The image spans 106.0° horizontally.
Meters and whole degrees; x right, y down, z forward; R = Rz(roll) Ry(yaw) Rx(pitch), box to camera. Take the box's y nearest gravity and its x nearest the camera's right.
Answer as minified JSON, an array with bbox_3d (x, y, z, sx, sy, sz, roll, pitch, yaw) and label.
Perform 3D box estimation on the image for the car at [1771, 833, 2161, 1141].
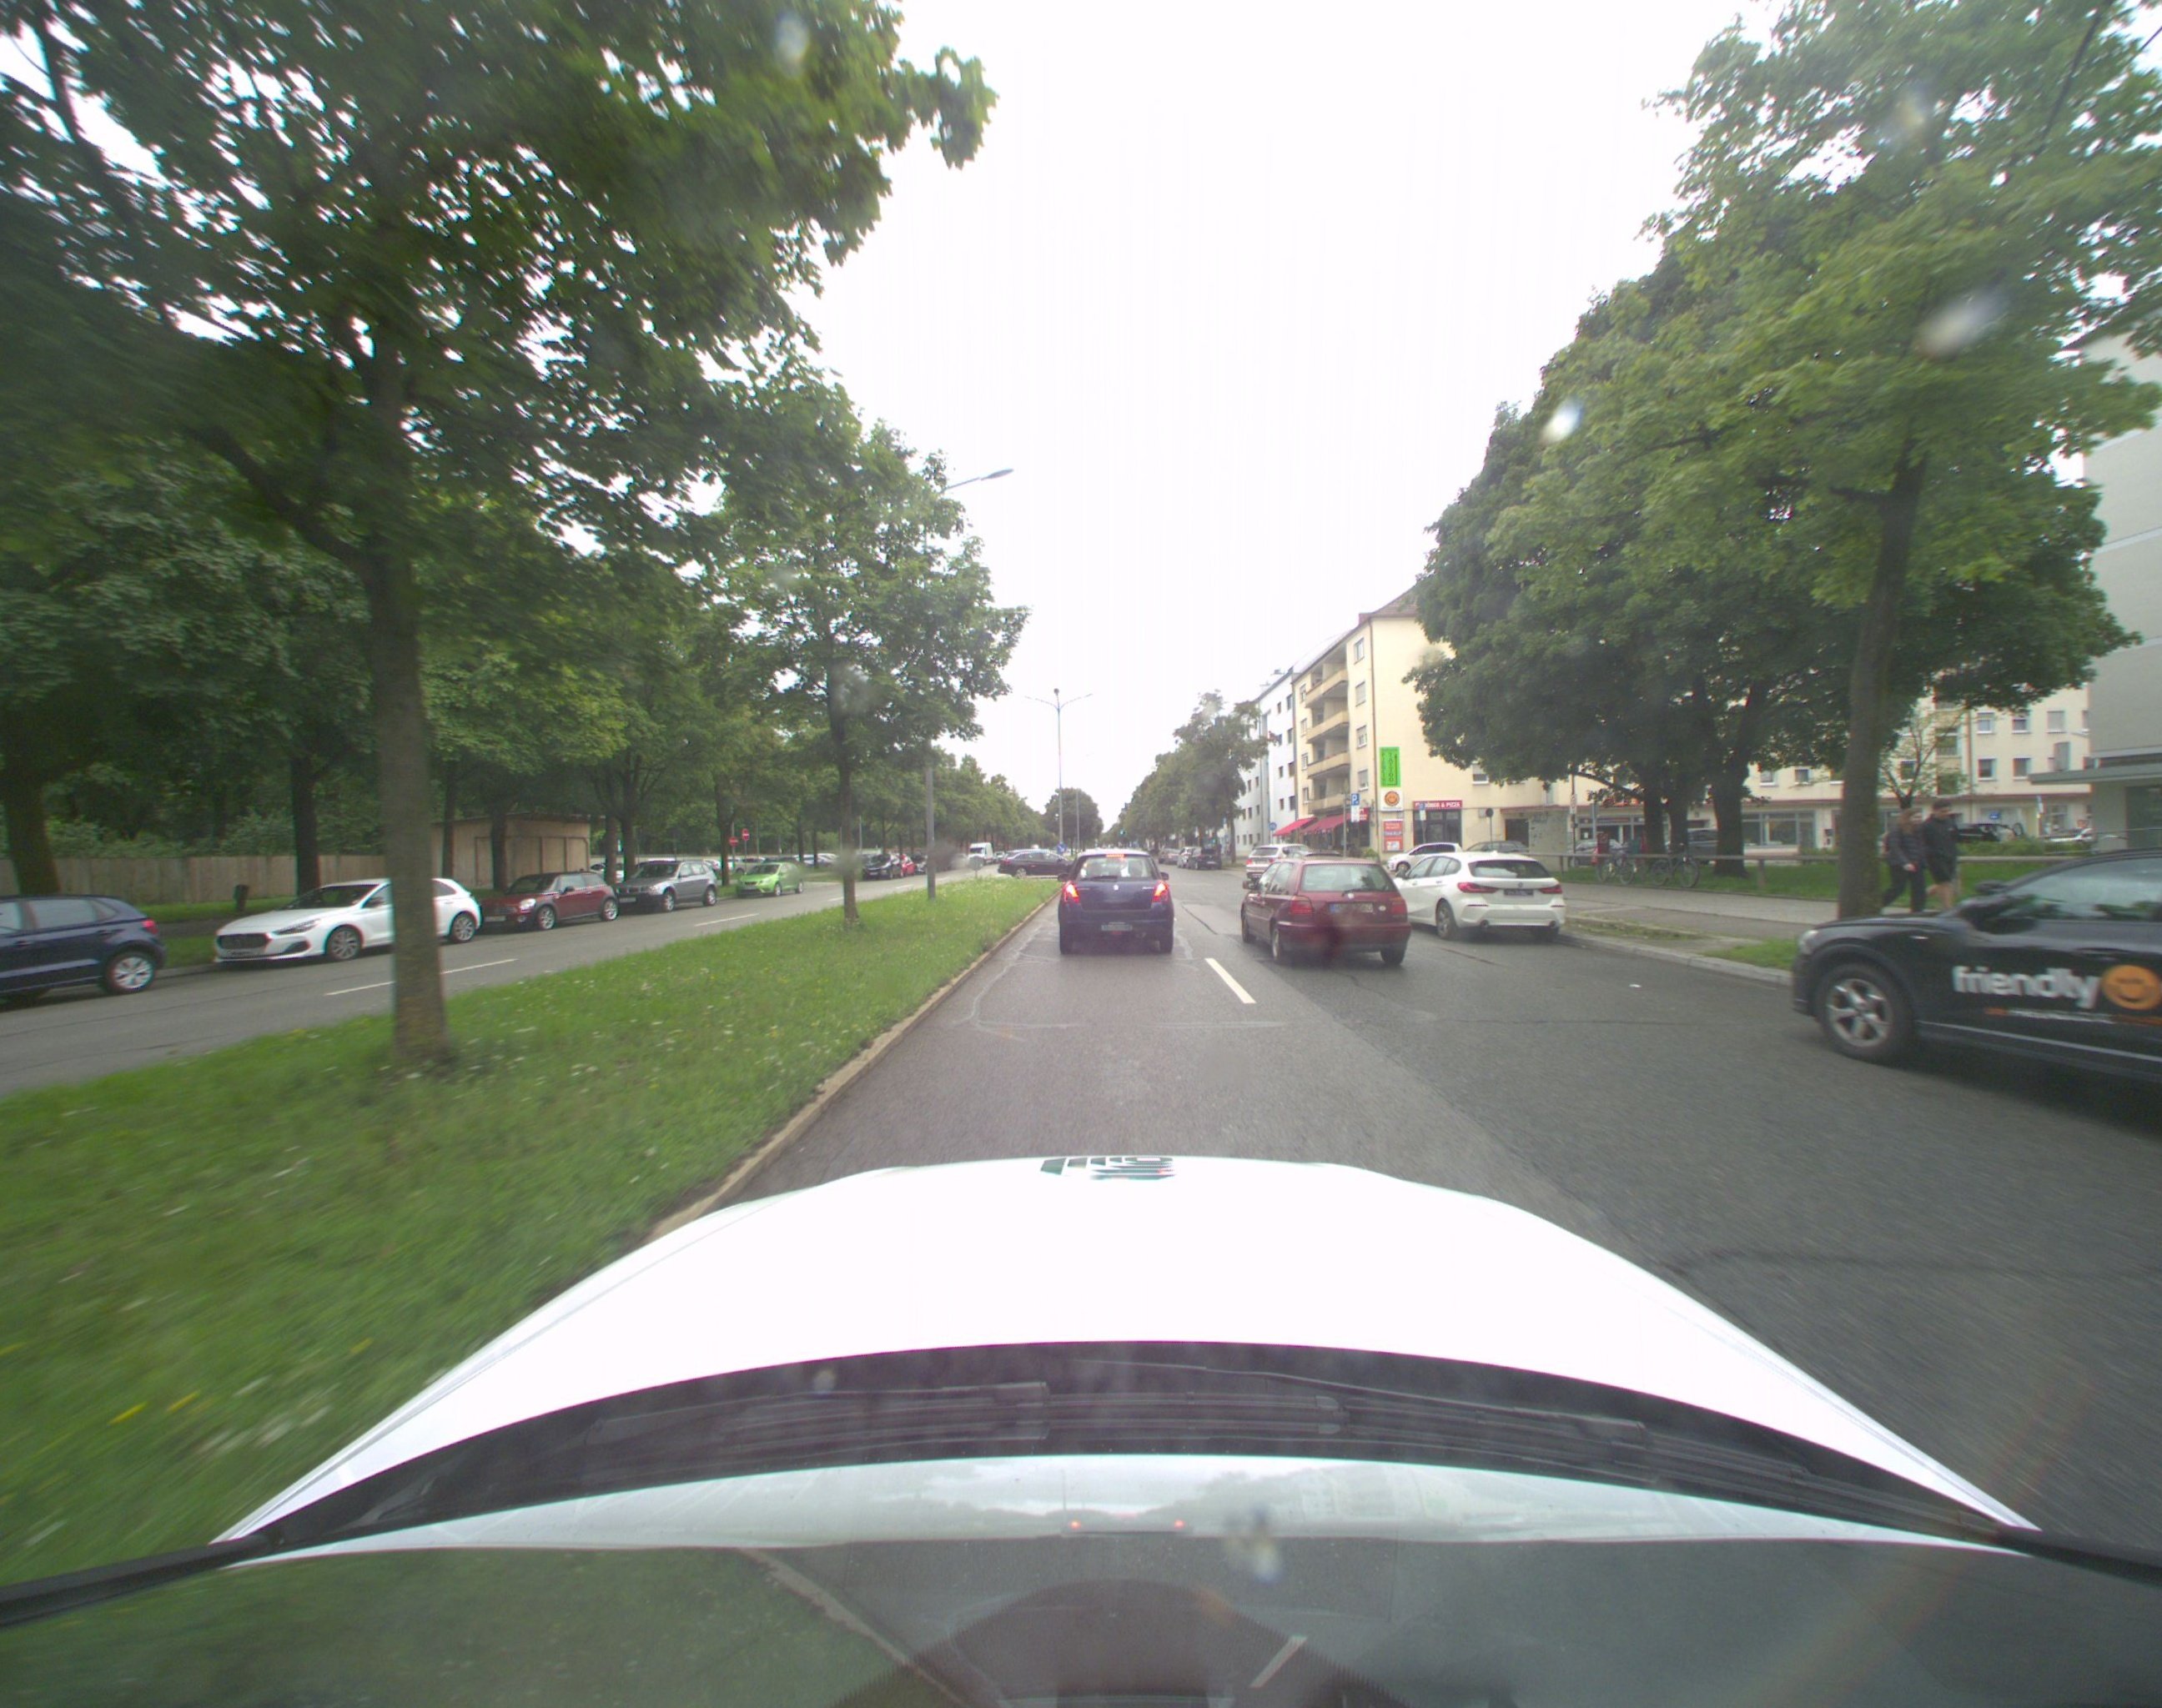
[{"bbox_3d":[6.238,0.659,4.293,1.710,1.533,4.277,0,1,2],"label":"car"}]

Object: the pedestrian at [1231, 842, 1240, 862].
[{"bbox_3d":[16.277,-0.202,85.727,0.791,2.013,1.007,-1,0,2],"label":"pedestrian"}]

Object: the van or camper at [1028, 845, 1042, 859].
[{"bbox_3d":[-10.769,-0.510,190.707,2.552,3.296,6.939,-1,0,1],"label":"van or camper"}]

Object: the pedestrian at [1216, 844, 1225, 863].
[{"bbox_3d":[14.680,-0.062,85.612,0.791,2.013,1.007,-1,0,2],"label":"pedestrian"}]

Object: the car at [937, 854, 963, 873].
[{"bbox_3d":[-11.916,0.848,74.391,1.626,1.741,3.880,-1,0,1],"label":"car"}]

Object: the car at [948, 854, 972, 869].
[{"bbox_3d":[-11.837,0.694,79.728,1.626,1.431,3.880,-1,0,1],"label":"car"}]

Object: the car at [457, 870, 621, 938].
[{"bbox_3d":[-13.793,1.217,20.995,1.584,1.397,3.634,-3,0,3],"label":"car"}]

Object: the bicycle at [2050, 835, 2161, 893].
[{"bbox_3d":[17.441,0.157,13.565,1.869,0.940,0.558,0,0,3],"label":"bicycle"}]

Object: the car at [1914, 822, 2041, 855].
[{"bbox_3d":[46.422,-0.780,42.225,4.724,1.661,1.870,0,0,-3],"label":"car"}]

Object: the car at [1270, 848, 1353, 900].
[{"bbox_3d":[6.990,0.562,25.038,1.611,1.465,3.676,0,0,2],"label":"car"}]

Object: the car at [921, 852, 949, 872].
[{"bbox_3d":[-12.171,0.635,68.016,1.585,1.558,3.880,-1,0,1],"label":"car"}]

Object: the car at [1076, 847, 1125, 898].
[{"bbox_3d":[0.612,0.543,26.020,1.439,1.483,3.107,-1,0,1],"label":"car"}]

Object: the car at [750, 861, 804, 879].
[{"bbox_3d":[-25.140,1.298,67.495,3.858,1.445,1.670,-1,0,-4],"label":"car"}]

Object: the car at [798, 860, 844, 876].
[{"bbox_3d":[-24.649,1.299,77.276,3.858,1.445,1.670,-1,0,-4],"label":"car"}]

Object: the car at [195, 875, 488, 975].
[{"bbox_3d":[-14.000,1.249,15.839,1.601,1.444,4.281,-3,0,2],"label":"car"}]

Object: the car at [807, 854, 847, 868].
[{"bbox_3d":[-27.896,0.789,89.418,3.858,1.445,1.670,-1,0,-4],"label":"car"}]

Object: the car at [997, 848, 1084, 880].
[{"bbox_3d":[-2.077,0.493,41.521,4.127,1.468,1.831,-2,0,-14],"label":"car"}]

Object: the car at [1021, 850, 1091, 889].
[{"bbox_3d":[-1.074,0.607,33.313,1.688,1.463,3.707,-1,1,-21],"label":"car"}]

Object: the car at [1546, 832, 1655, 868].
[{"bbox_3d":[26.405,-0.203,41.491,4.380,1.661,1.871,-2,0,-2],"label":"car"}]

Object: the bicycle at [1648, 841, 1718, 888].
[{"bbox_3d":[14.598,0.239,19.809,0.380,1.103,1.885,-1,0,3],"label":"bicycle"}]

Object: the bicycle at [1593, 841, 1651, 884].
[{"bbox_3d":[14.660,0.214,22.116,0.387,1.105,1.855,-1,0,3],"label":"bicycle"}]

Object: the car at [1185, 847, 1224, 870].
[{"bbox_3d":[8.375,0.281,55.540,1.860,1.417,4.222,-2,1,-1],"label":"car"}]

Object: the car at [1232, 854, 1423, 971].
[{"bbox_3d":[3.333,0.704,11.765,1.676,1.383,3.920,0,0,1],"label":"car"}]

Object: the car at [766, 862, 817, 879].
[{"bbox_3d":[-25.456,1.429,71.612,3.858,1.445,1.670,-1,0,-4],"label":"car"}]

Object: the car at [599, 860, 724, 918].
[{"bbox_3d":[-13.640,1.080,26.783,1.685,1.586,4.372,-3,0,1],"label":"car"}]

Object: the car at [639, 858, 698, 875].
[{"bbox_3d":[-37.240,1.158,73.604,4.488,1.476,1.673,-1,0,2],"label":"car"}]

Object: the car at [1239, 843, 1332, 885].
[{"bbox_3d":[8.697,0.389,34.436,1.848,1.661,4.433,0,1,44],"label":"car"}]

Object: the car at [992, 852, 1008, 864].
[{"bbox_3d":[-10.839,0.536,108.779,1.626,1.583,3.880,-1,0,1],"label":"car"}]

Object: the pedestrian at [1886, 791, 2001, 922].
[{"bbox_3d":[13.086,0.039,12.385,0.727,1.889,0.919,-2,0,1],"label":"pedestrian"}]

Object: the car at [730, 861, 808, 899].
[{"bbox_3d":[-13.368,1.089,35.140,1.540,1.409,3.884,-3,0,4],"label":"car"}]

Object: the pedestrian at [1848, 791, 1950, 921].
[{"bbox_3d":[12.400,0.030,12.371,0.586,1.889,0.902,-2,0,1],"label":"pedestrian"}]

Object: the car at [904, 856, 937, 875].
[{"bbox_3d":[-12.289,0.856,62.666,1.661,1.445,3.880,-1,0,1],"label":"car"}]

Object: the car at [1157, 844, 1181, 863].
[{"bbox_3d":[8.434,-0.089,78.424,1.859,1.682,4.224,-2,1,0],"label":"car"}]

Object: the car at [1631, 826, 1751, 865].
[{"bbox_3d":[31.259,-0.436,41.806,4.719,1.773,1.871,-2,0,0],"label":"car"}]

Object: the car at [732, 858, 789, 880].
[{"bbox_3d":[-25.451,1.169,64.785,3.910,1.718,1.670,-1,0,-4],"label":"car"}]

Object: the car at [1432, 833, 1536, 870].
[{"bbox_3d":[20.498,-0.122,41.519,4.383,1.661,1.870,-2,0,-3],"label":"car"}]

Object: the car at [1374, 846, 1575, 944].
[{"bbox_3d":[6.791,0.612,14.585,1.676,1.465,4.138,1,0,1],"label":"car"}]

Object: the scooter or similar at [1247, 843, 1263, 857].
[{"bbox_3d":[17.510,-0.410,81.989,1.028,1.307,2.757,-2,0,3],"label":"scooter or similar"}]

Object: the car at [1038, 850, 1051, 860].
[{"bbox_3d":[-6.313,0.209,141.327,1.760,1.623,4.508,-3,0,1],"label":"car"}]

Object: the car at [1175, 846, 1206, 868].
[{"bbox_3d":[8.133,0.206,60.763,1.785,1.558,4.225,-2,1,1],"label":"car"}]

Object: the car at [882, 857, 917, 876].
[{"bbox_3d":[-12.804,0.870,57.619,1.585,1.312,3.381,-1,0,1],"label":"car"}]

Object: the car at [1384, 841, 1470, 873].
[{"bbox_3d":[16.729,0.122,39.576,3.525,1.417,1.878,-2,0,11],"label":"car"}]

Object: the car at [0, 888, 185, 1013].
[{"bbox_3d":[-13.918,1.264,9.932,1.608,1.417,3.897,-3,0,0],"label":"car"}]

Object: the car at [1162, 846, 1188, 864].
[{"bbox_3d":[8.457,0.049,73.589,1.859,1.517,4.224,-2,1,0],"label":"car"}]

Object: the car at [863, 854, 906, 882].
[{"bbox_3d":[-12.601,0.878,52.372,1.710,1.741,3.880,-1,0,1],"label":"car"}]

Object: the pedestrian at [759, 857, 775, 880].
[{"bbox_3d":[-20.559,0.948,53.372,0.724,1.534,0.721,-1,0,2],"label":"pedestrian"}]

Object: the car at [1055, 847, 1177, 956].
[{"bbox_3d":[0.519,0.647,13.367,1.676,1.501,3.919,-1,1,1],"label":"car"}]

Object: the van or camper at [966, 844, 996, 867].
[{"bbox_3d":[-11.454,0.156,93.912,2.108,2.482,7.454,-1,0,3],"label":"van or camper"}]

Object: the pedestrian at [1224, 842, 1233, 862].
[{"bbox_3d":[15.485,-0.195,85.543,0.791,2.013,1.007,-1,0,2],"label":"pedestrian"}]

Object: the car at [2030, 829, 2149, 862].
[{"bbox_3d":[52.493,-0.435,42.442,4.065,1.661,1.870,0,0,-3],"label":"car"}]

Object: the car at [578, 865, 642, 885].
[{"bbox_3d":[-29.569,1.313,51.083,4.363,1.201,1.683,-1,0,33],"label":"car"}]
